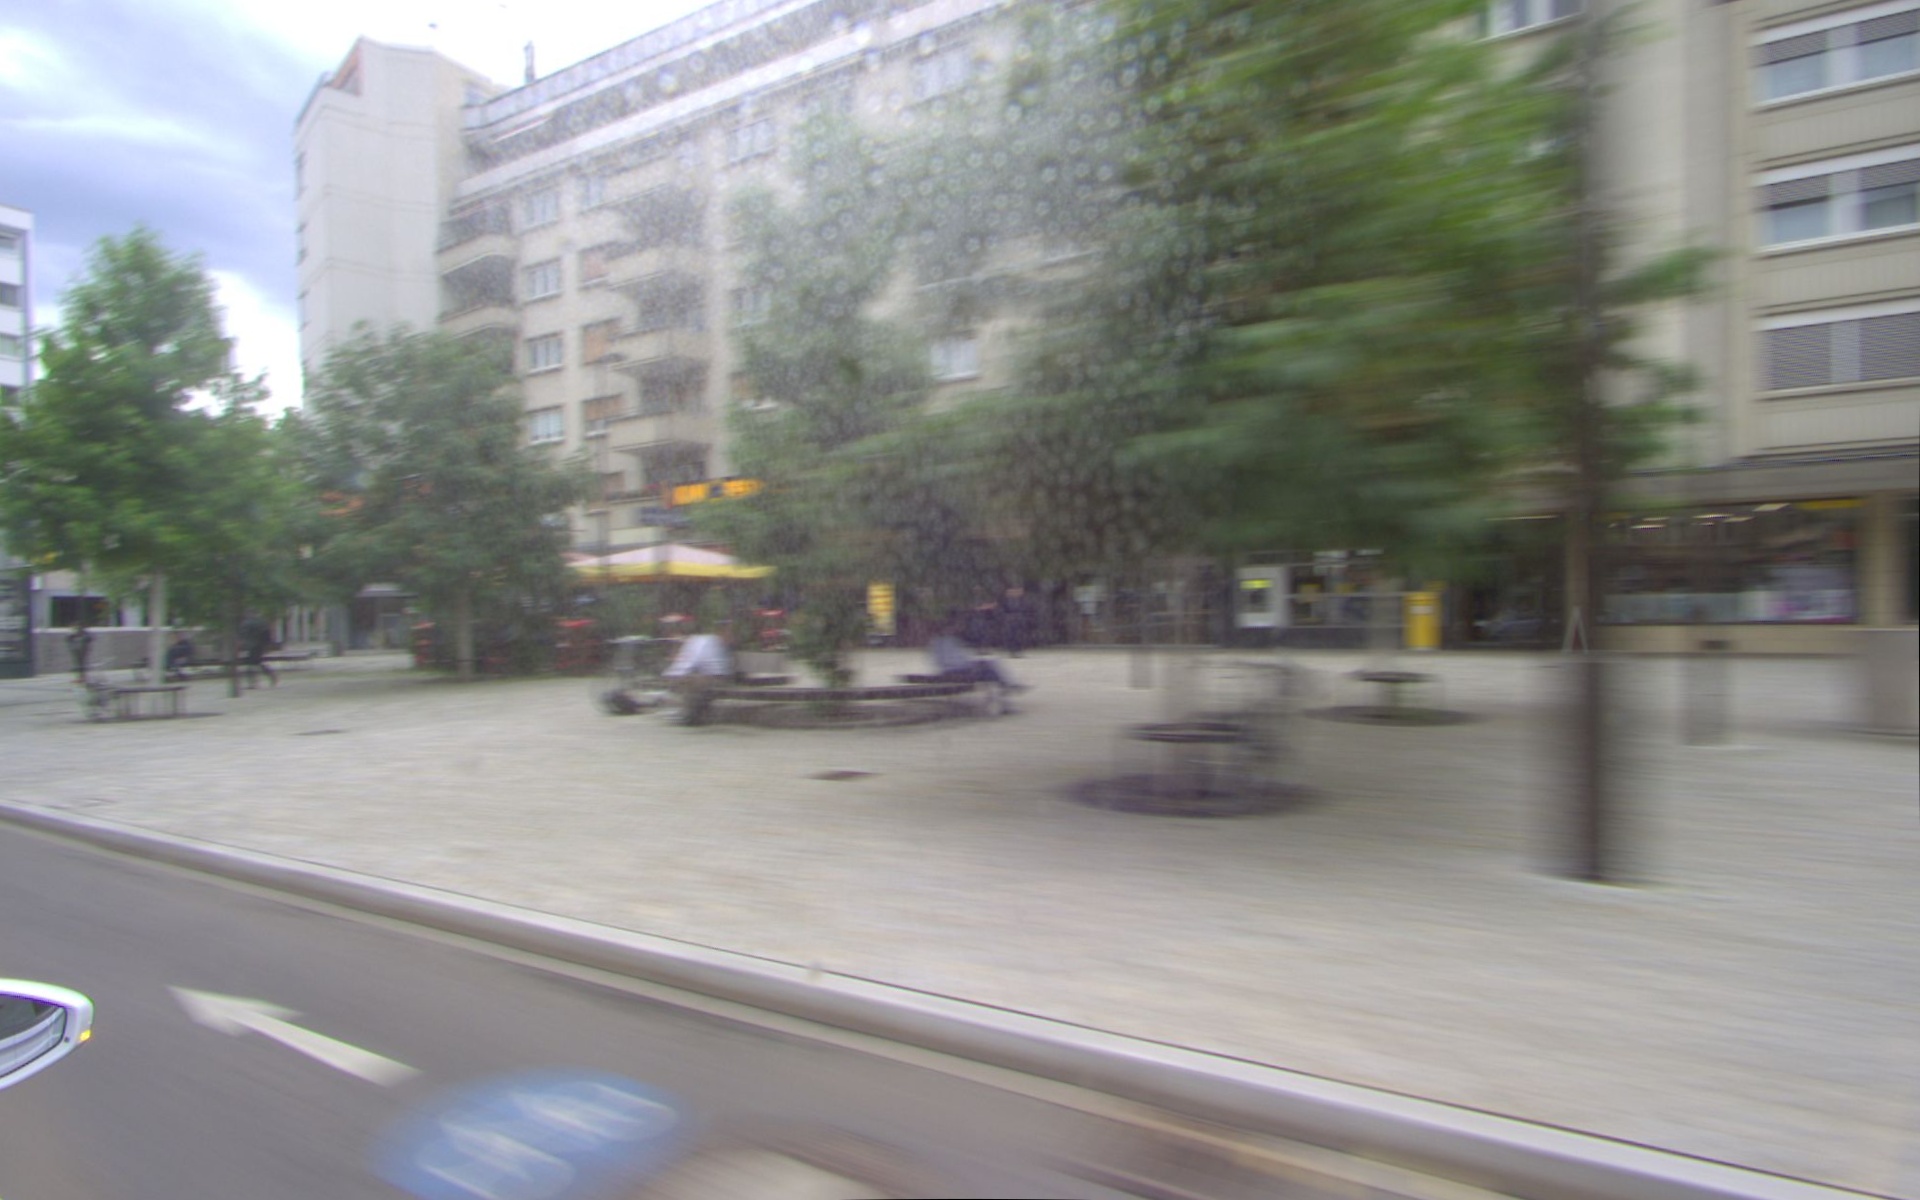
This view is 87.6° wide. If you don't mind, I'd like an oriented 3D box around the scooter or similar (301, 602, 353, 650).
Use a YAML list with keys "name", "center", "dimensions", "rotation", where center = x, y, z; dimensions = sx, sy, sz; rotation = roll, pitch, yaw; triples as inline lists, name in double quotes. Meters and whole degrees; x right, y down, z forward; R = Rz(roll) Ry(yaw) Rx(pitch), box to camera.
- name: "scooter or similar"
  center: [-25.042, 1.023, 39.598]
  dimensions: [2.246, 1.830, 1.079]
  rotation: [-1, 0, 39]

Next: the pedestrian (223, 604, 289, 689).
- name: "pedestrian"
  center: [-15.711, 1.034, 22.350]
  dimensions: [1.062, 1.827, 0.712]
  rotation: [-2, 2, 30]

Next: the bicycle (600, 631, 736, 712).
- name: "bicycle"
  center: [-4.517, 1.079, 15.617]
  dimensions: [2.021, 1.125, 0.473]
  rotation: [-2, 1, -45]

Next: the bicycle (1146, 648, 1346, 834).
- name: "bicycle"
  center: [2.110, 0.929, 7.213]
  dimensions: [0.638, 1.137, 1.905]
  rotation: [-1, -2, 41]

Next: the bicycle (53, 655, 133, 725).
- name: "bicycle"
  center: [-13.870, 1.405, 16.063]
  dimensions: [0.651, 0.991, 1.745]
  rotation: [-1, -1, -31]

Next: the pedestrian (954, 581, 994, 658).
- name: "pedestrian"
  center: [0.358, 0.503, 25.614]
  dimensions: [0.763, 1.909, 0.850]
  rotation: [0, -1, -21]

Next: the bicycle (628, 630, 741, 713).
- name: "bicycle"
  center: [-4.112, 1.043, 15.011]
  dimensions: [0.473, 1.126, 1.590]
  rotation: [-1, 1, 45]

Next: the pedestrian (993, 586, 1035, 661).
- name: "pedestrian"
  center: [1.301, 0.553, 24.152]
  dimensions: [0.763, 1.775, 0.715]
  rotation: [-2, 2, -21]

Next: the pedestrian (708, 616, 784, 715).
- name: "pedestrian"
  center: [-3.149, 0.940, 14.661]
  dimensions: [0.539, 1.383, 1.269]
  rotation: [1, -2, -42]

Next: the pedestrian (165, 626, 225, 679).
- name: "pedestrian"
  center: [-20.106, 1.374, 26.324]
  dimensions: [0.723, 1.314, 1.041]
  rotation: [-1, 1, 35]

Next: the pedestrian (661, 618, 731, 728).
- name: "pedestrian"
  center: [-3.416, 0.939, 12.982]
  dimensions: [0.675, 1.383, 0.630]
  rotation: [0, -1, 12]

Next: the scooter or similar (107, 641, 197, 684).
- name: "scooter or similar"
  center: [-20.242, 1.557, 25.110]
  dimensions: [1.565, 0.961, 0.723]
  rotation: [-2, 1, -22]

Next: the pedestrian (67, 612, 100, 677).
- name: "pedestrian"
  center: [-24.668, 1.254, 28.190]
  dimensions: [0.667, 1.784, 0.635]
  rotation: [1, -2, -44]

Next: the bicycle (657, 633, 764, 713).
- name: "bicycle"
  center: [-3.876, 1.111, 15.625]
  dimensions: [0.473, 1.126, 1.590]
  rotation: [-1, 1, 45]

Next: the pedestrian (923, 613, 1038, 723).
- name: "pedestrian"
  center: [0.266, 0.873, 13.162]
  dimensions: [1.388, 1.383, 0.627]
  rotation: [-1, -1, 30]

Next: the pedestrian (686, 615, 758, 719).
- name: "pedestrian"
  center: [-3.309, 0.915, 13.907]
  dimensions: [0.623, 1.383, 0.911]
  rotation: [1, -2, -42]
